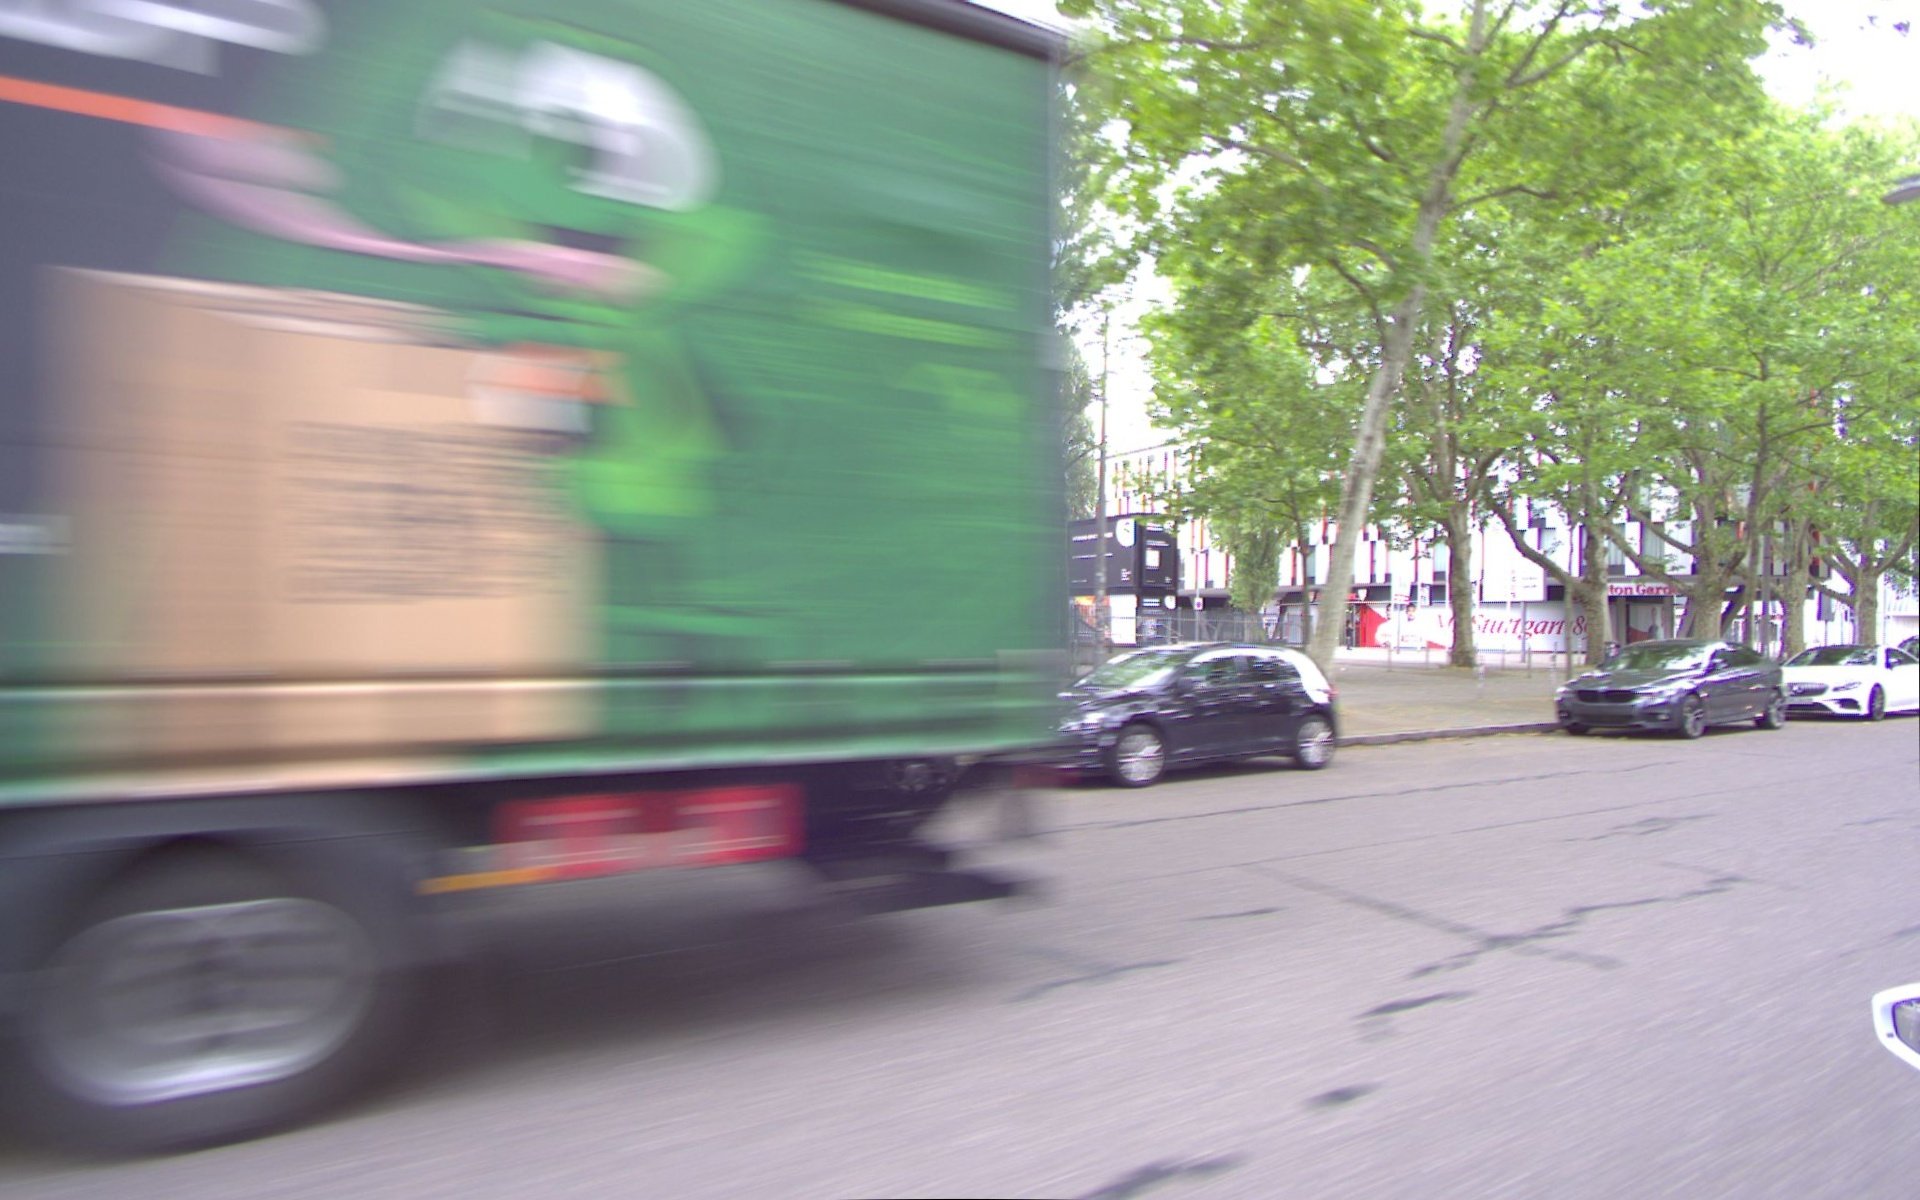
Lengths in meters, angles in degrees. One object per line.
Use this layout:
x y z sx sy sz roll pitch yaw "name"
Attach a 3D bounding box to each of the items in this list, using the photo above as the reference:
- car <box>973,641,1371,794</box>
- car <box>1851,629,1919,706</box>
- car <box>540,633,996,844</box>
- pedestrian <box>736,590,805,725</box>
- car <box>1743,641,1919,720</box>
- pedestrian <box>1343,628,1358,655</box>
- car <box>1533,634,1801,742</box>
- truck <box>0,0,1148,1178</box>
2.413 1.198 11.141 4.280 1.399 1.700 1 -5 -30 "car"
21.788 1.462 22.104 4.290 1.614 1.811 1 -4 -28 "car"
-1.630 1.092 8.922 3.615 1.497 1.684 2 -5 -35 "car"
-2.695 0.801 14.309 0.819 1.864 0.503 1 -1 -36 "pedestrian"
17.606 1.501 19.755 4.947 1.380 1.807 1 -3 -31 "car"
25.730 2.737 66.205 0.684 1.712 0.640 1 -1 -28 "pedestrian"
11.423 1.315 16.128 4.939 1.504 1.809 1 -3 -33 "car"
-4.055 -0.523 3.307 9.341 3.919 2.901 2 -3 -26 "truck"
